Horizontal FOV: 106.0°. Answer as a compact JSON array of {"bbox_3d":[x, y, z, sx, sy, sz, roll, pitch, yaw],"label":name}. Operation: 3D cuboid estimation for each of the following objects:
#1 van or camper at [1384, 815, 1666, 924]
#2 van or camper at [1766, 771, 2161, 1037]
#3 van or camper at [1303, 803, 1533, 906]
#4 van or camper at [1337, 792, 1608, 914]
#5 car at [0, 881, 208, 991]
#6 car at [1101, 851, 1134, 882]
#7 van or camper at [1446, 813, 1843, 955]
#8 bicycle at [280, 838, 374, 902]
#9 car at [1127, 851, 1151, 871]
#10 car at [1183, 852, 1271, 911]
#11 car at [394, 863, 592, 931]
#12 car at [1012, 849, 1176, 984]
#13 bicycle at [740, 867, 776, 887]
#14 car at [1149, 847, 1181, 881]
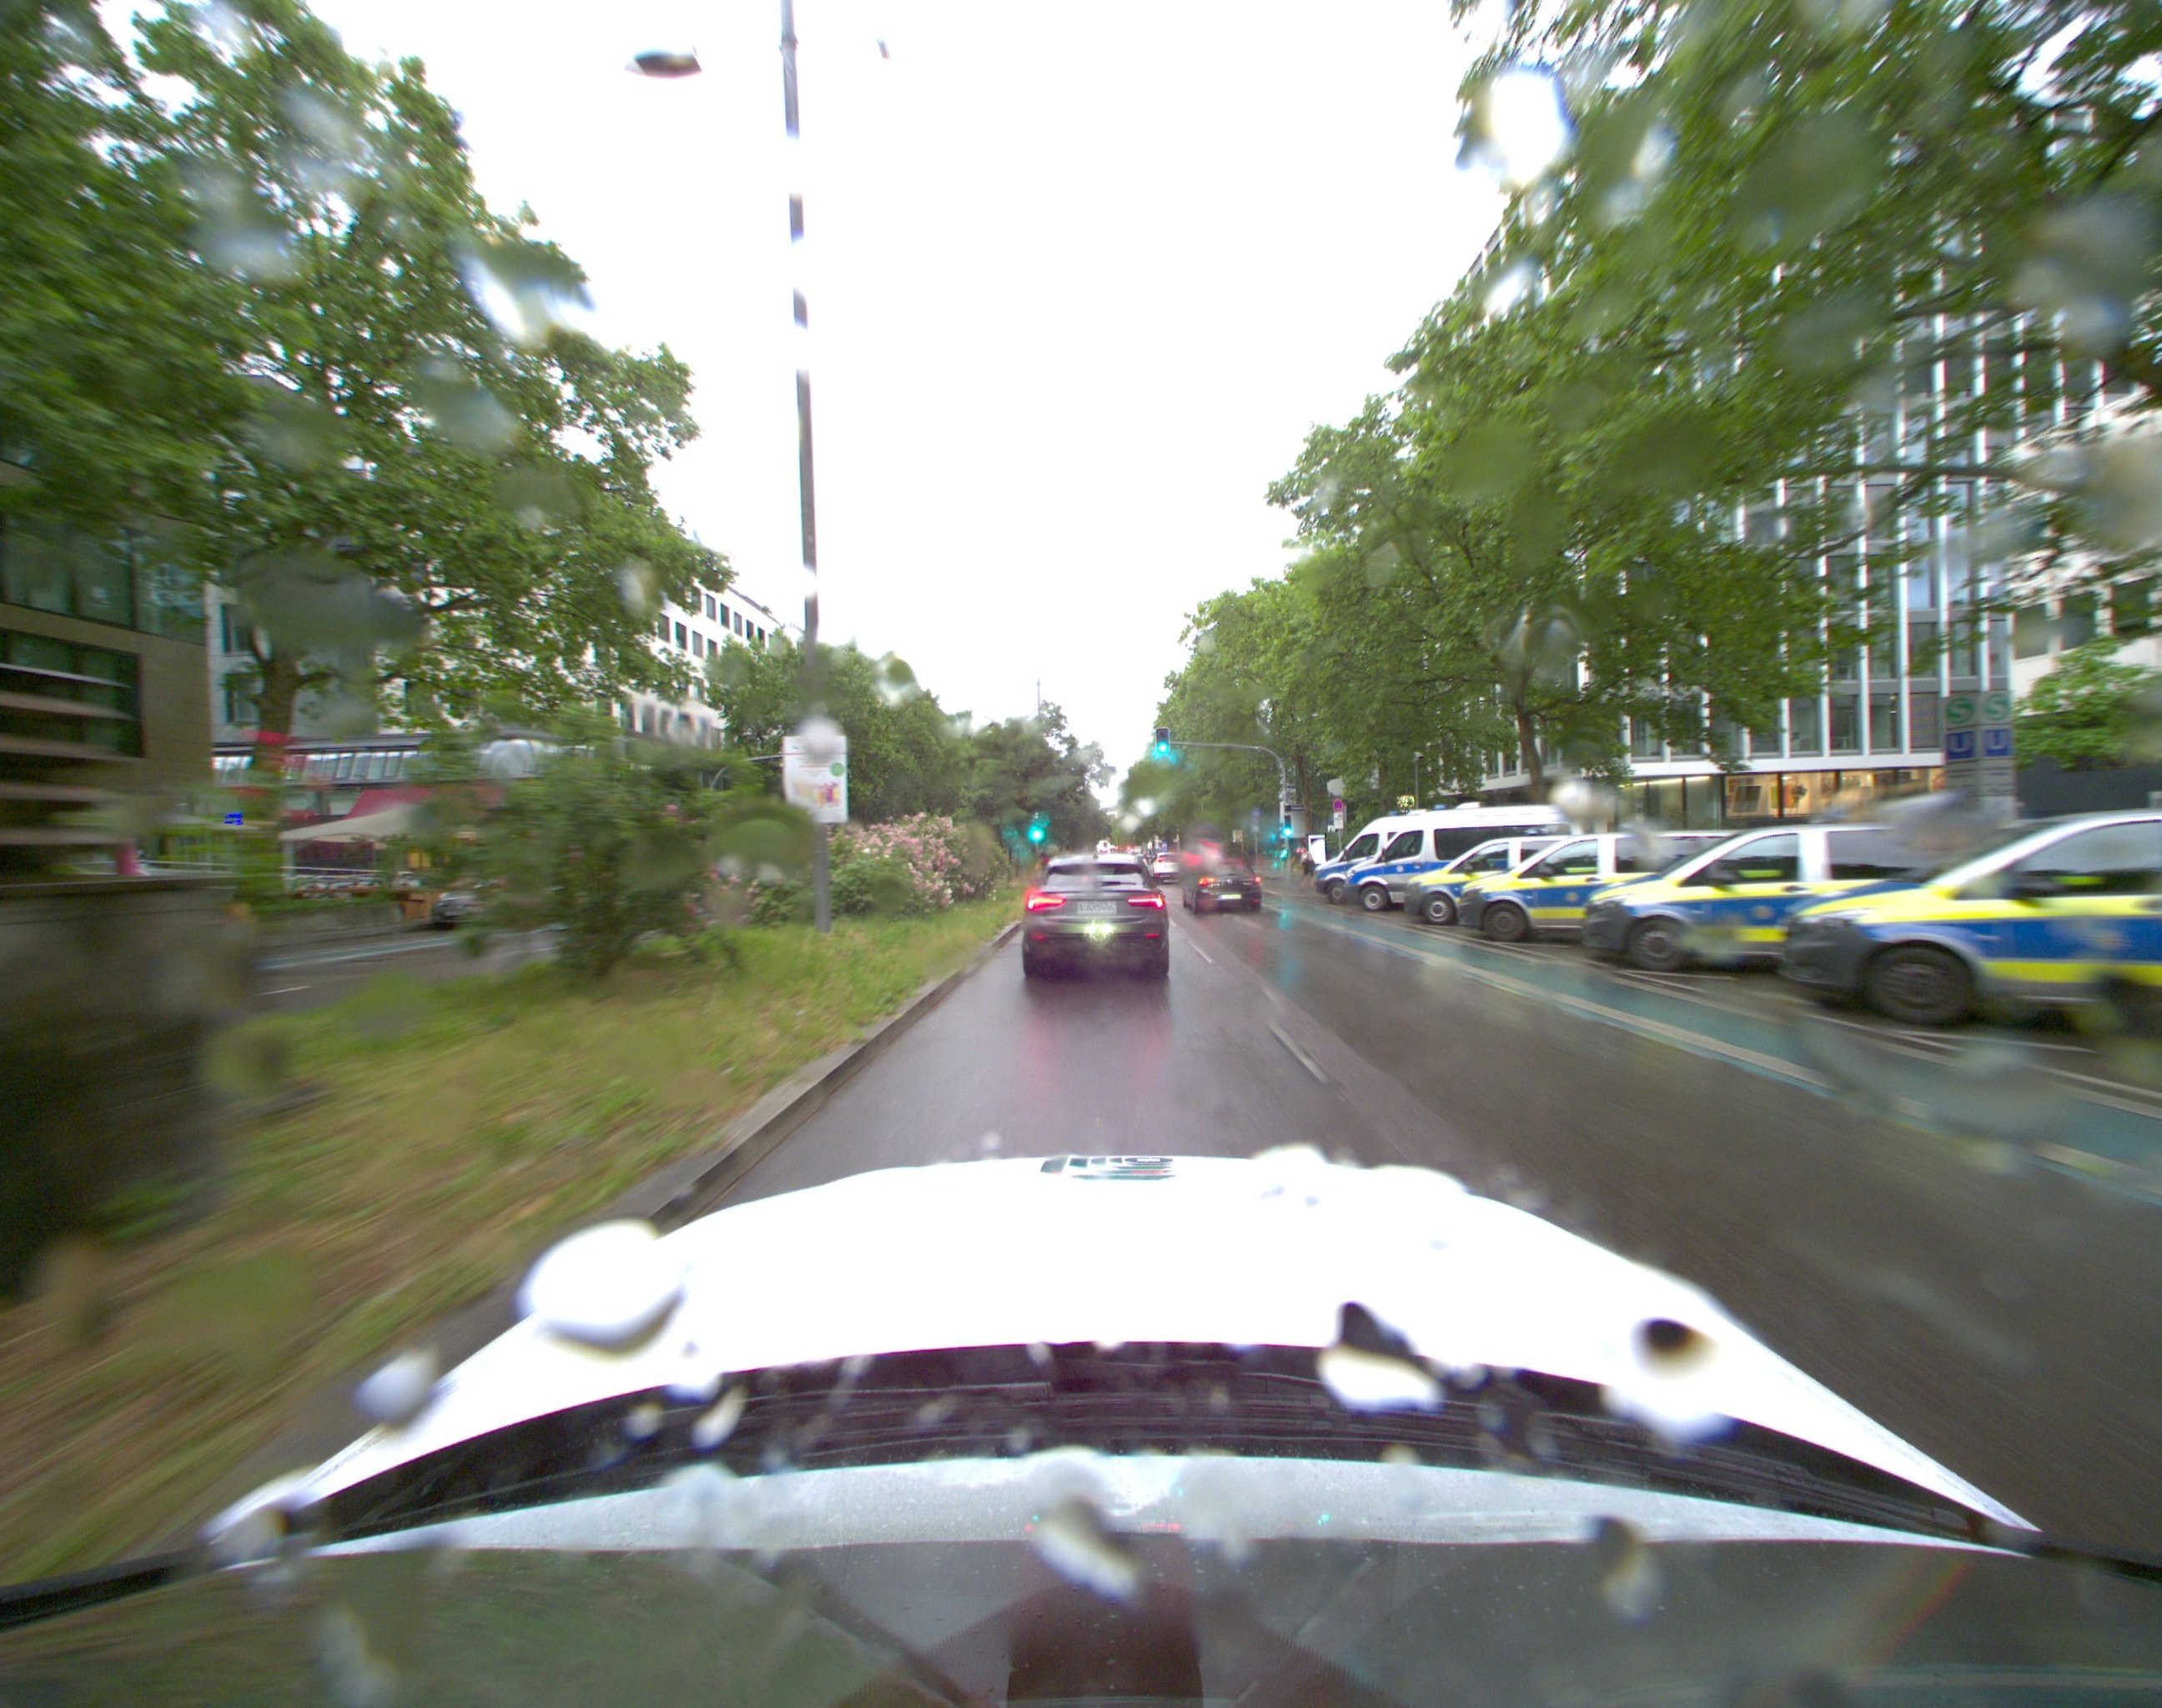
[{"bbox_3d":[9.271,0.348,17.223,4.952,2.014,2.013,-2,-1,37],"label":"van or camper"},{"bbox_3d":[9.092,0.360,6.840,5.042,2.025,2.119,-1,0,39],"label":"van or camper"},{"bbox_3d":[9.650,0.042,23.667,5.741,2.677,2.161,-1,0,39],"label":"van or camper"},{"bbox_3d":[9.607,0.022,20.314,5.736,2.680,2.013,-2,0,37],"label":"van or camper"},{"bbox_3d":[-15.750,1.171,11.433,1.986,1.370,4.542,1,0,2],"label":"car"},{"bbox_3d":[2.000,0.672,45.514,1.715,1.577,3.963,-2,0,1],"label":"car"},{"bbox_3d":[9.137,0.437,13.703,5.142,1.992,2.013,0,-1,36],"label":"van or camper"},{"bbox_3d":[-24.827,0.518,26.828,2.379,2.013,0.689,-2,0,-1],"label":"bicycle"},{"bbox_3d":[5.327,0.631,75.152,1.986,1.750,4.002,-2,0,2],"label":"car"},{"bbox_3d":[3.897,0.674,22.355,1.759,1.413,4.001,-2,0,1],"label":"car"},{"bbox_3d":[-15.581,1.066,21.963,1.987,1.509,4.517,-2,0,0],"label":"car"},{"bbox_3d":[0.271,0.713,11.682,1.855,1.532,4.530,-1,0,3],"label":"car"},{"bbox_3d":[-16.857,1.186,42.507,1.616,0.962,0.508,-2,0,-6],"label":"bicycle"},{"bbox_3d":[4.397,0.520,43.091,1.427,1.685,2.980,-2,0,2],"label":"car"}]
